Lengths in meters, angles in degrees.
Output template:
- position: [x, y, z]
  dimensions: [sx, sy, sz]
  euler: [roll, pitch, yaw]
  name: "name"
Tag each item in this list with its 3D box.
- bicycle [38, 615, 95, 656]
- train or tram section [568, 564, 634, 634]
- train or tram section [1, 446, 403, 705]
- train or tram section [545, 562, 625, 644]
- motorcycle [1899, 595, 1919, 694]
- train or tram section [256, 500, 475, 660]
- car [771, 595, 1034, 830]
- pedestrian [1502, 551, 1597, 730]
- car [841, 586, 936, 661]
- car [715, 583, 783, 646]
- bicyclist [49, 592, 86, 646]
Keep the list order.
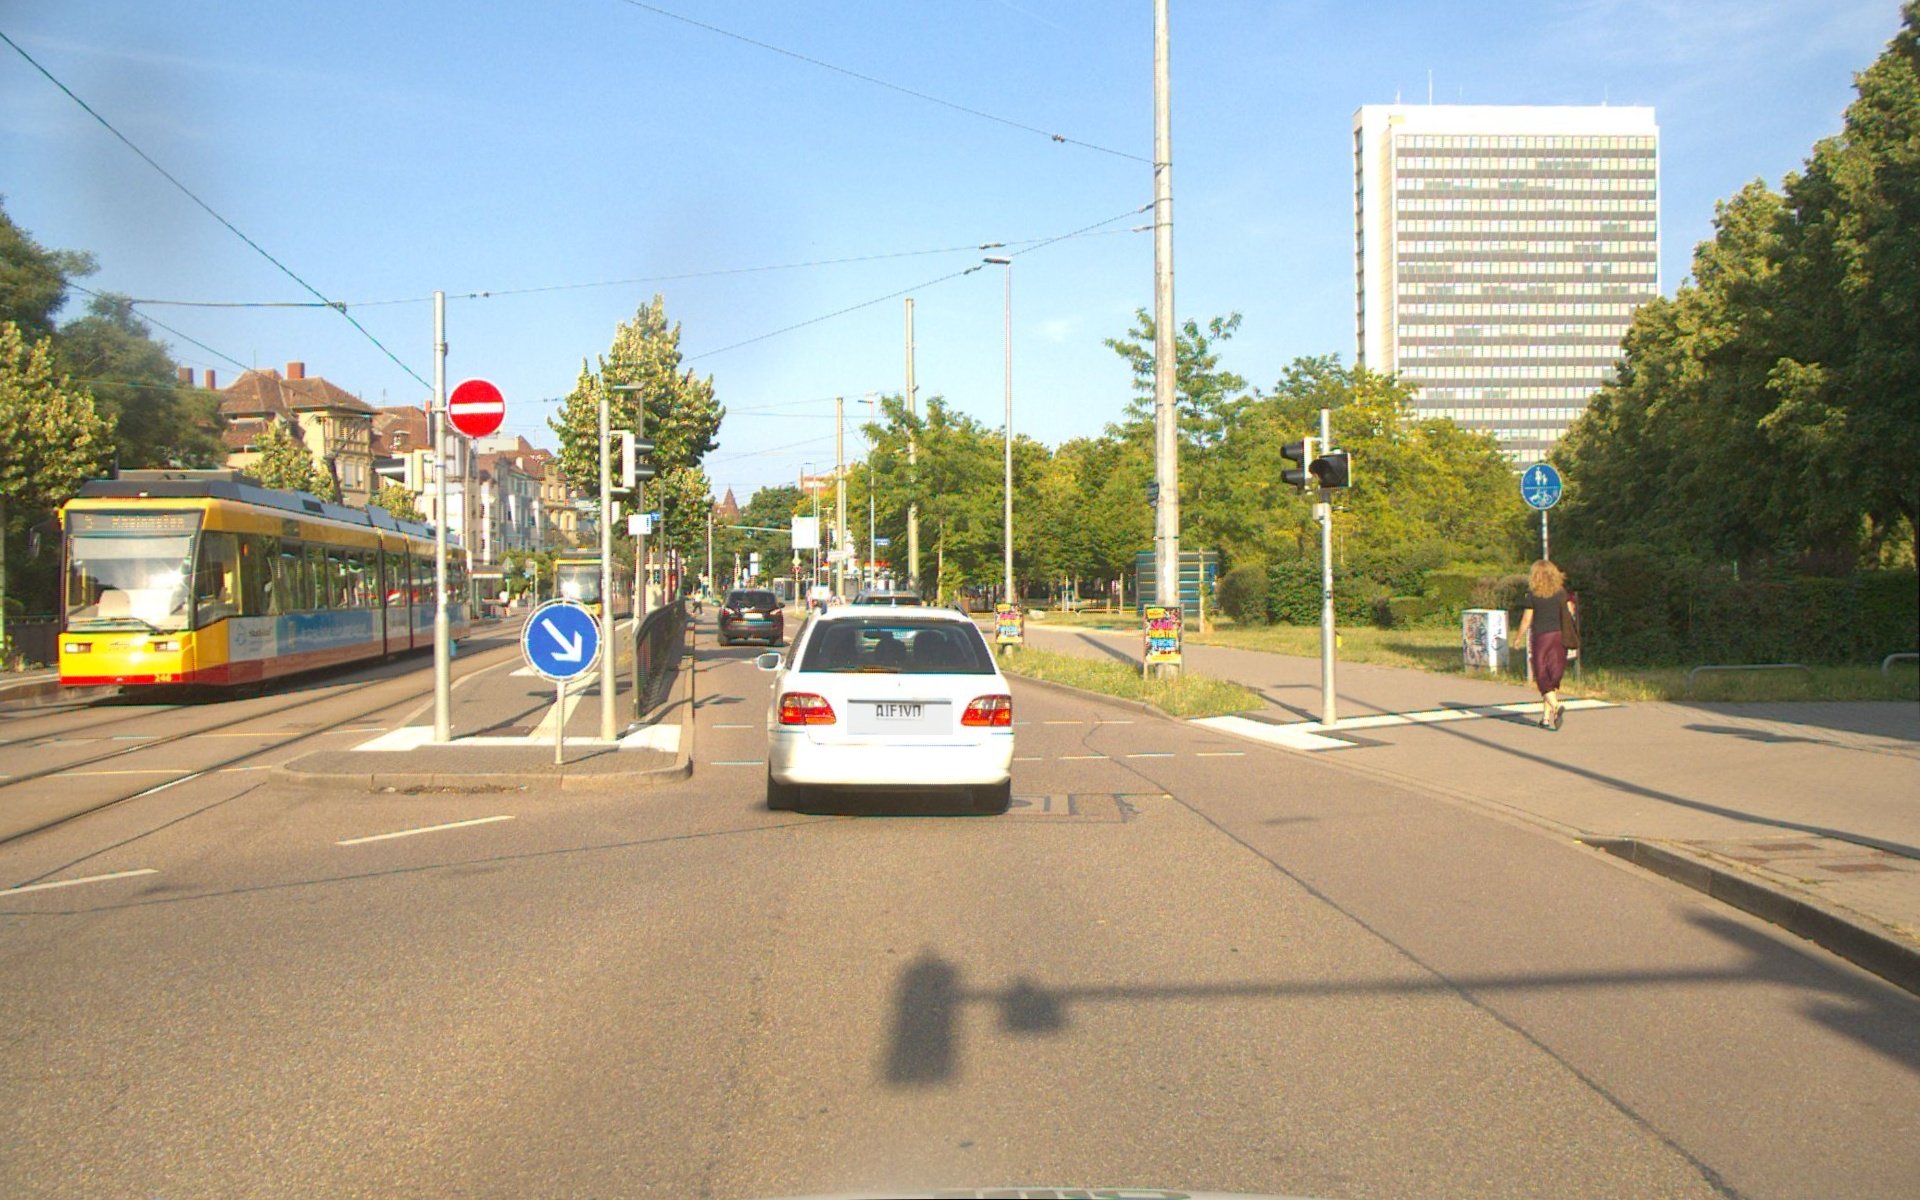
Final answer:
- position: [-23.990, 0.941, 44.436]
  dimensions: [0.531, 1.036, 2.247]
  euler: [0, 0, -6]
  name: "bicycle"
- position: [-19.568, -0.100, 90.813]
  dimensions: [2.797, 3.540, 13.172]
  euler: [0, 0, -9]
  name: "train or tram section"
- position: [-12.885, -0.386, 30.079]
  dimensions: [3.104, 3.540, 14.497]
  euler: [0, 0, -10]
  name: "train or tram section"
- position: [-17.554, 0.071, 78.176]
  dimensions: [2.797, 3.540, 13.172]
  euler: [1, 0, -9]
  name: "train or tram section"
- position: [12.467, 0.538, 20.049]
  dimensions: [1.963, 1.180, 0.705]
  euler: [0, 0, -15]
  name: "motorcycle"
- position: [-15.353, -0.498, 44.066]
  dimensions: [3.104, 3.540, 14.436]
  euler: [0, 0, -10]
  name: "train or tram section"
- position: [-0.563, 0.757, 12.832]
  dimensions: [1.724, 1.530, 3.995]
  euler: [0, -1, -6]
  name: "car"
- position: [5.957, 0.400, 16.745]
  dimensions: [0.603, 1.721, 0.548]
  euler: [-5, 1, -6]
  name: "pedestrian"
- position: [-1.702, 0.495, 38.019]
  dimensions: [1.993, 1.633, 3.996]
  euler: [0, 0, -5]
  name: "car"
- position: [-5.966, 0.377, 47.039]
  dimensions: [1.752, 1.719, 3.996]
  euler: [0, 0, -5]
  name: "car"
- position: [-23.912, 0.501, 44.334]
  dimensions: [0.638, 1.438, 0.716]
  euler: [0, 0, -7]
  name: "bicyclist"
